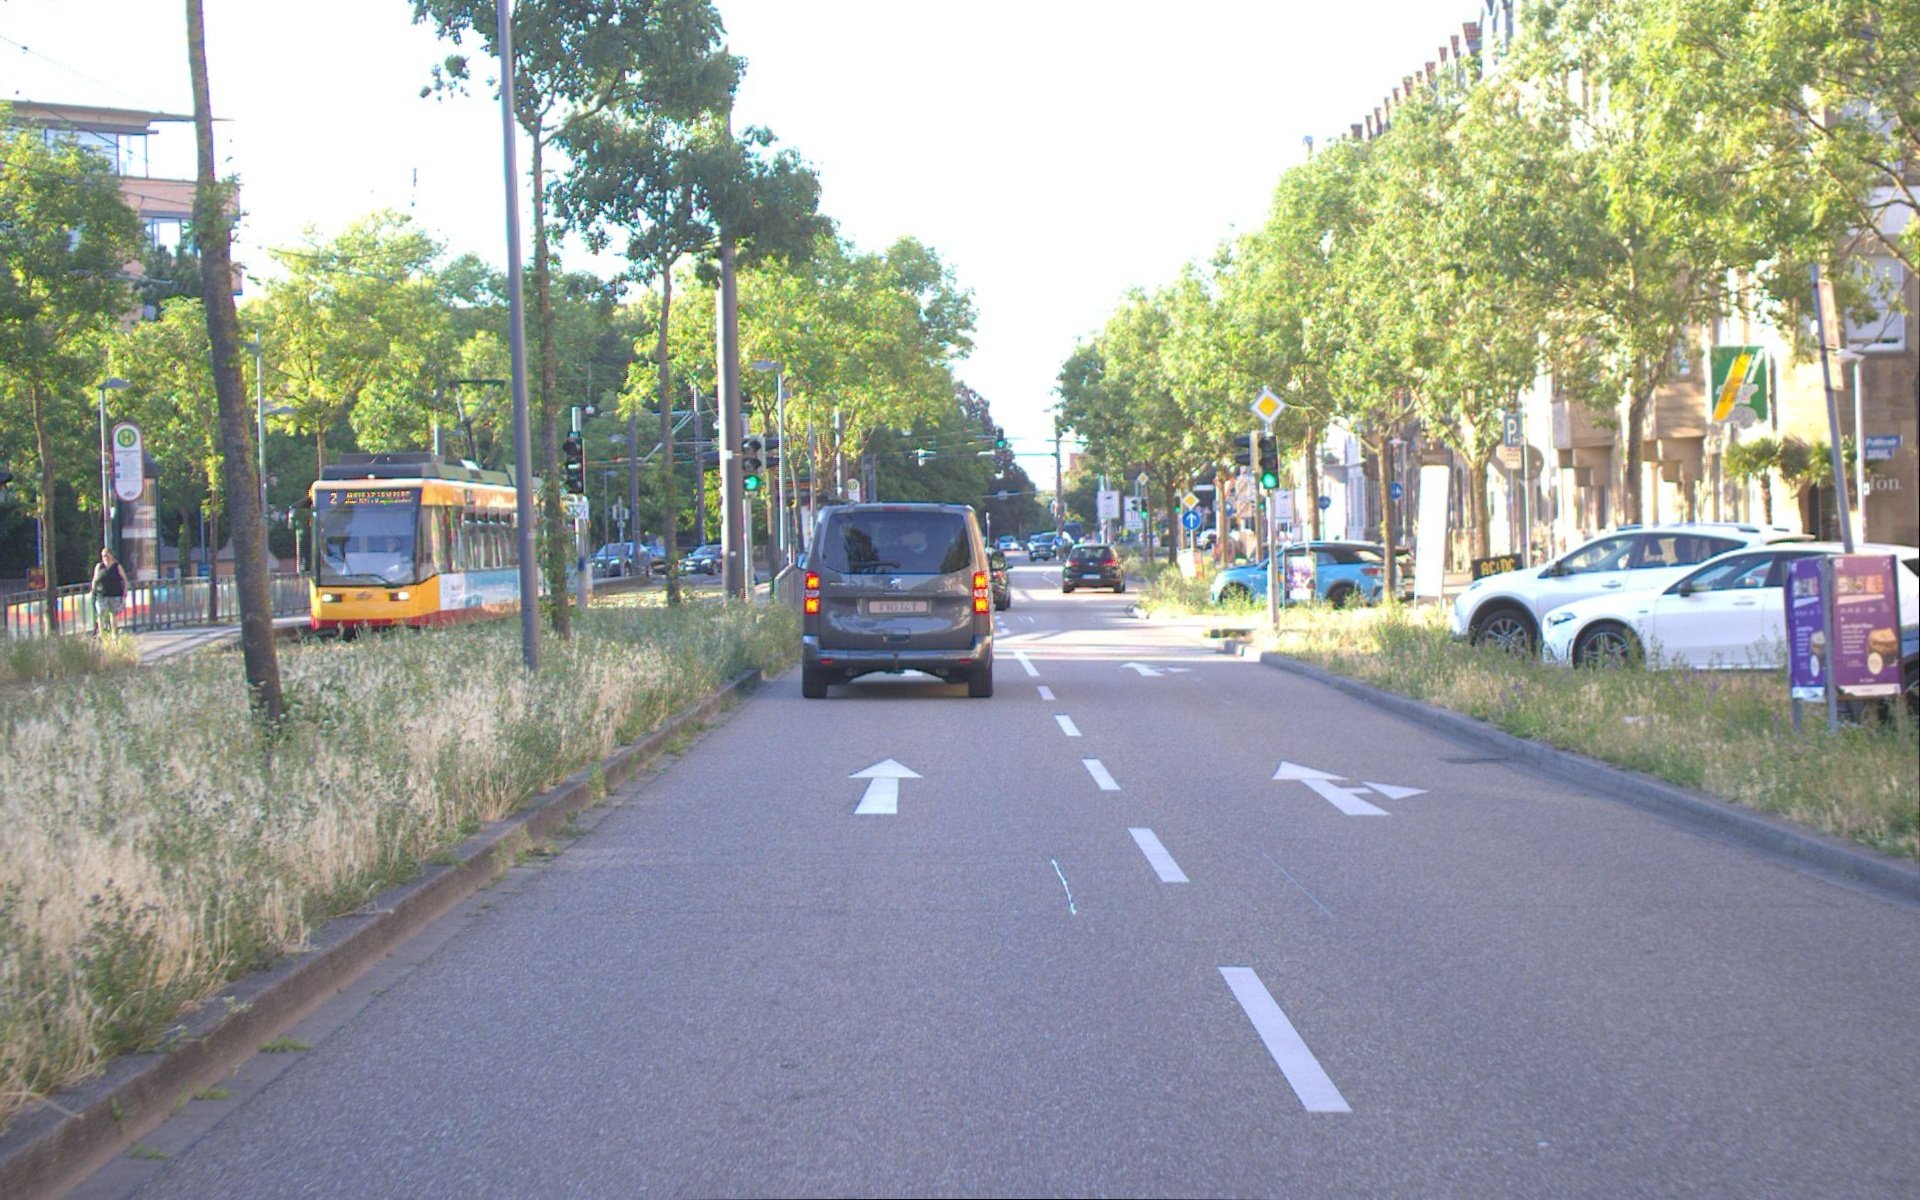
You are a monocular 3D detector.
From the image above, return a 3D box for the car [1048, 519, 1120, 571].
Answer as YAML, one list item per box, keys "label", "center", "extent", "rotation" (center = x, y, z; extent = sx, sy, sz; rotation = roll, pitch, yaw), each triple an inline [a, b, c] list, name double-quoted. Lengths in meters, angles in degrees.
- label: "car"
  center: [3.671, -1.644, 102.329]
  extent: [1.993, 1.505, 4.000]
  rotation: [0, 1, 0]

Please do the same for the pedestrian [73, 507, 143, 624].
- label: "pedestrian"
  center: [-14.755, -0.602, 59.543]
  extent: [0.934, 2.007, 0.957]
  rotation: [-1, 1, 0]

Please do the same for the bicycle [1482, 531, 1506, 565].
- label: "bicycle"
  center: [16.386, -1.599, 105.530]
  extent: [0.483, 1.002, 1.746]
  rotation: [-1, 1, 1]

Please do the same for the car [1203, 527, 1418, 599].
- label: "car"
  center: [7.627, -0.808, 74.895]
  extent: [4.281, 1.516, 1.844]
  rotation: [0, 2, 33]

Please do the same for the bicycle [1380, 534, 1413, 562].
- label: "bicycle"
  center: [14.789, -1.763, 116.513]
  extent: [0.872, 0.913, 2.084]
  rotation: [-3, 1, 2]

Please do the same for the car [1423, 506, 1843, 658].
- label: "car"
  center: [7.855, -0.226, 40.275]
  extent: [4.427, 1.685, 1.912]
  rotation: [0, 2, 35]

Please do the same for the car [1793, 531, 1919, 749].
- label: "car"
  center: [7.711, 0.217, 21.298]
  extent: [4.576, 1.343, 1.893]
  rotation: [-1, 1, 33]

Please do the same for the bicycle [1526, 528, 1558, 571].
- label: "bicycle"
  center: [16.417, -1.439, 97.006]
  extent: [0.483, 1.161, 1.746]
  rotation: [-6, 1, 1]

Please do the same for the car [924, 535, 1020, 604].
- label: "car"
  center: [0.240, -0.723, 78.189]
  extent: [1.993, 1.505, 4.001]
  rotation: [0, 1, -2]

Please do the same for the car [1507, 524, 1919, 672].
- label: "car"
  center: [7.974, -0.022, 34.255]
  extent: [4.548, 1.395, 2.027]
  rotation: [0, 1, 31]

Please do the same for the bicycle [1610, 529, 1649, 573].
- label: "bicycle"
  center: [16.487, -1.212, 84.713]
  extent: [0.572, 1.069, 1.897]
  rotation: [-2, 1, 0]

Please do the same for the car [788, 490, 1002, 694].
- label: "car"
  center: [-0.584, -0.120, 34.433]
  extent: [1.993, 1.894, 4.299]
  rotation: [1, 1, 1]

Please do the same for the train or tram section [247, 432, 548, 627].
- label: "train or tram section"
  center: [-10.909, -1.388, 68.659]
  extent: [3.431, 3.418, 15.028]
  rotation: [-1, 1, 0]

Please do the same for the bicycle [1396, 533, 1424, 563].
- label: "bicycle"
  center: [14.915, -1.729, 113.955]
  extent: [0.733, 0.945, 2.339]
  rotation: [-3, 1, 4]

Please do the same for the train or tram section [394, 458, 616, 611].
- label: "train or tram section"
  center: [-10.780, -1.582, 83.147]
  extent: [3.431, 3.328, 13.858]
  rotation: [-1, 1, 0]
